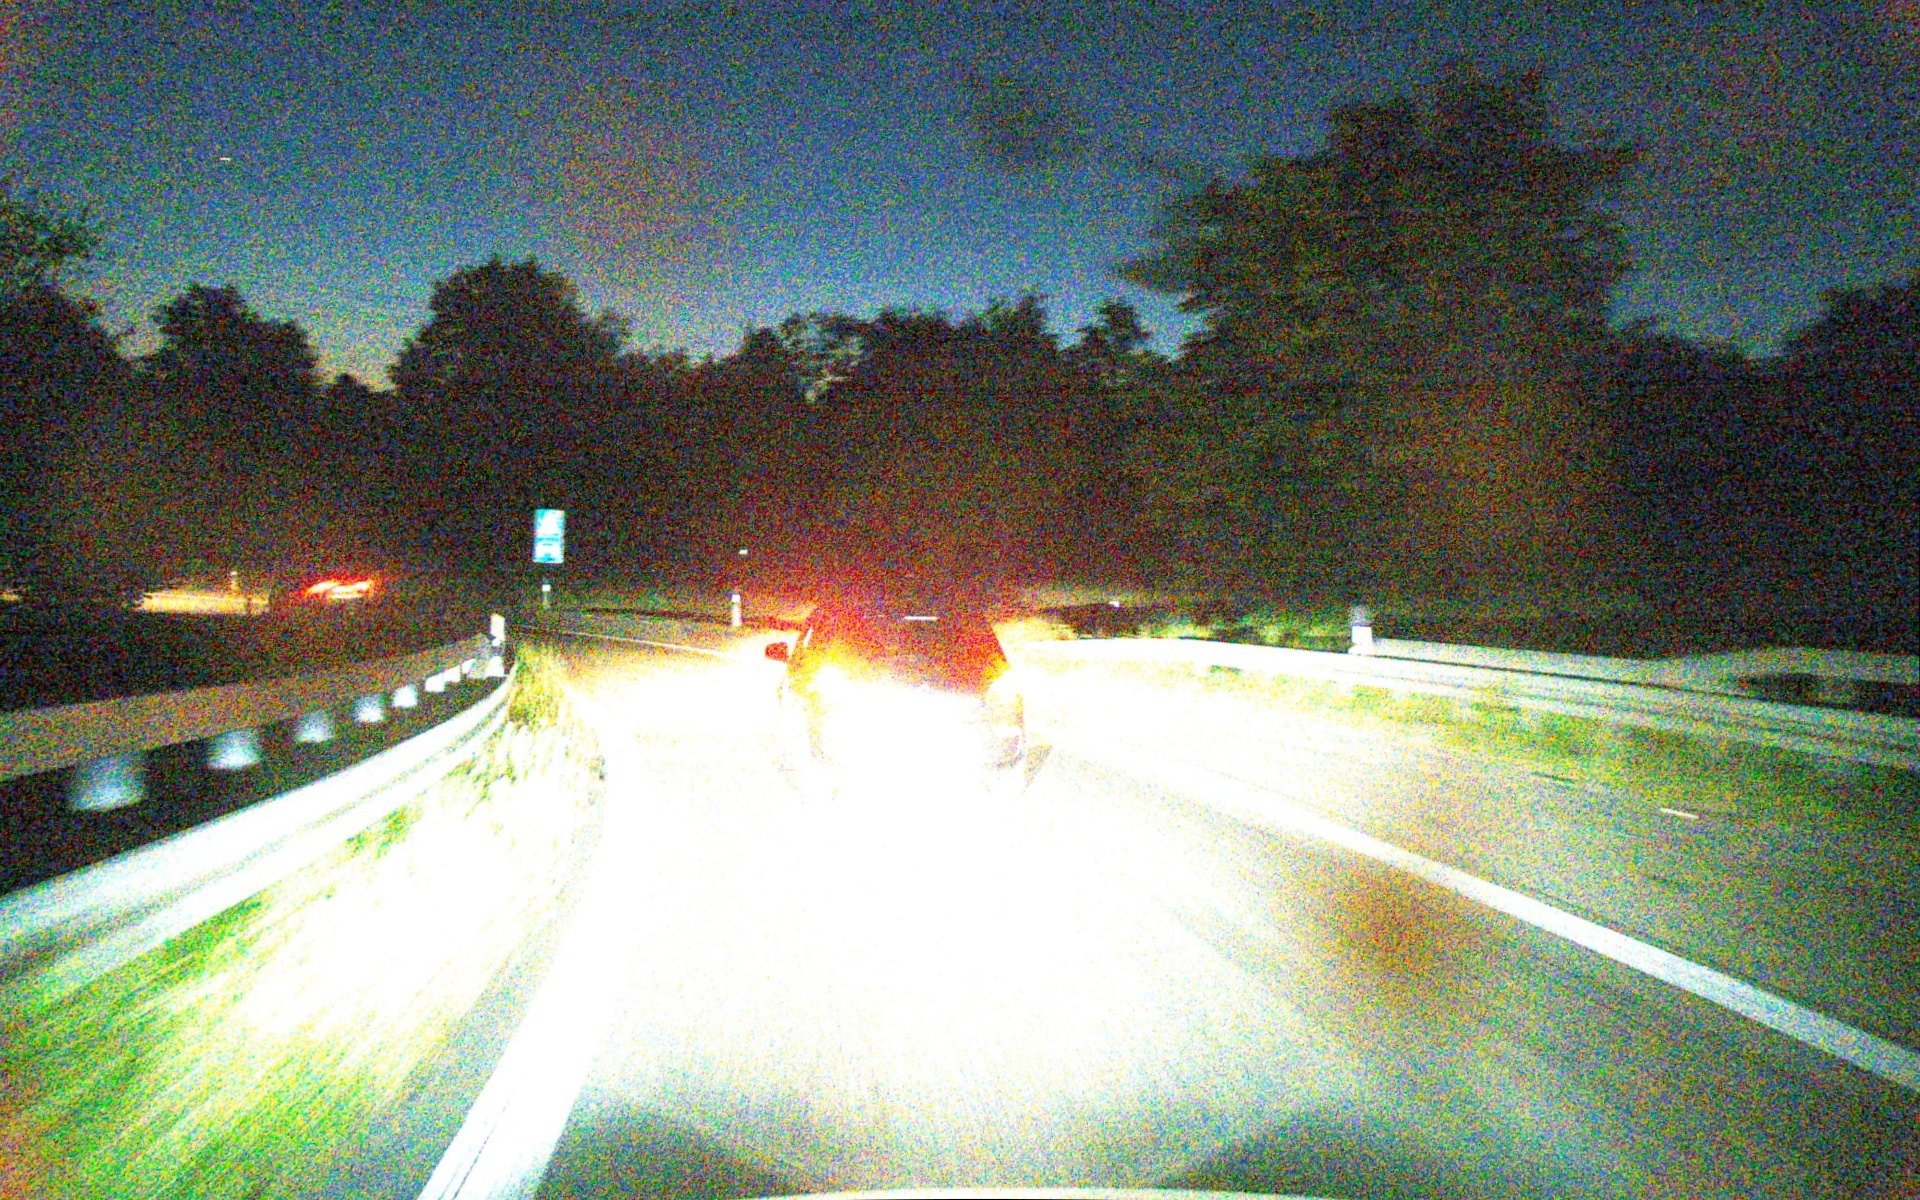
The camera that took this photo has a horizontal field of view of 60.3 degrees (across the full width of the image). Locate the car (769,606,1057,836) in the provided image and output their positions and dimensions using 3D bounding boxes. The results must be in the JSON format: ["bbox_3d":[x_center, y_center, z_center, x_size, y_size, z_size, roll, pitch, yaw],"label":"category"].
[{"bbox_3d":[-0.531,0.817,13.159,1.661,1.503,3.989,-1,0,-11],"label":"car"}]

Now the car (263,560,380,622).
[{"bbox_3d":[-19.413,-0.314,50.194,1.942,1.564,4.177,-3,5,-42],"label":"car"}]
